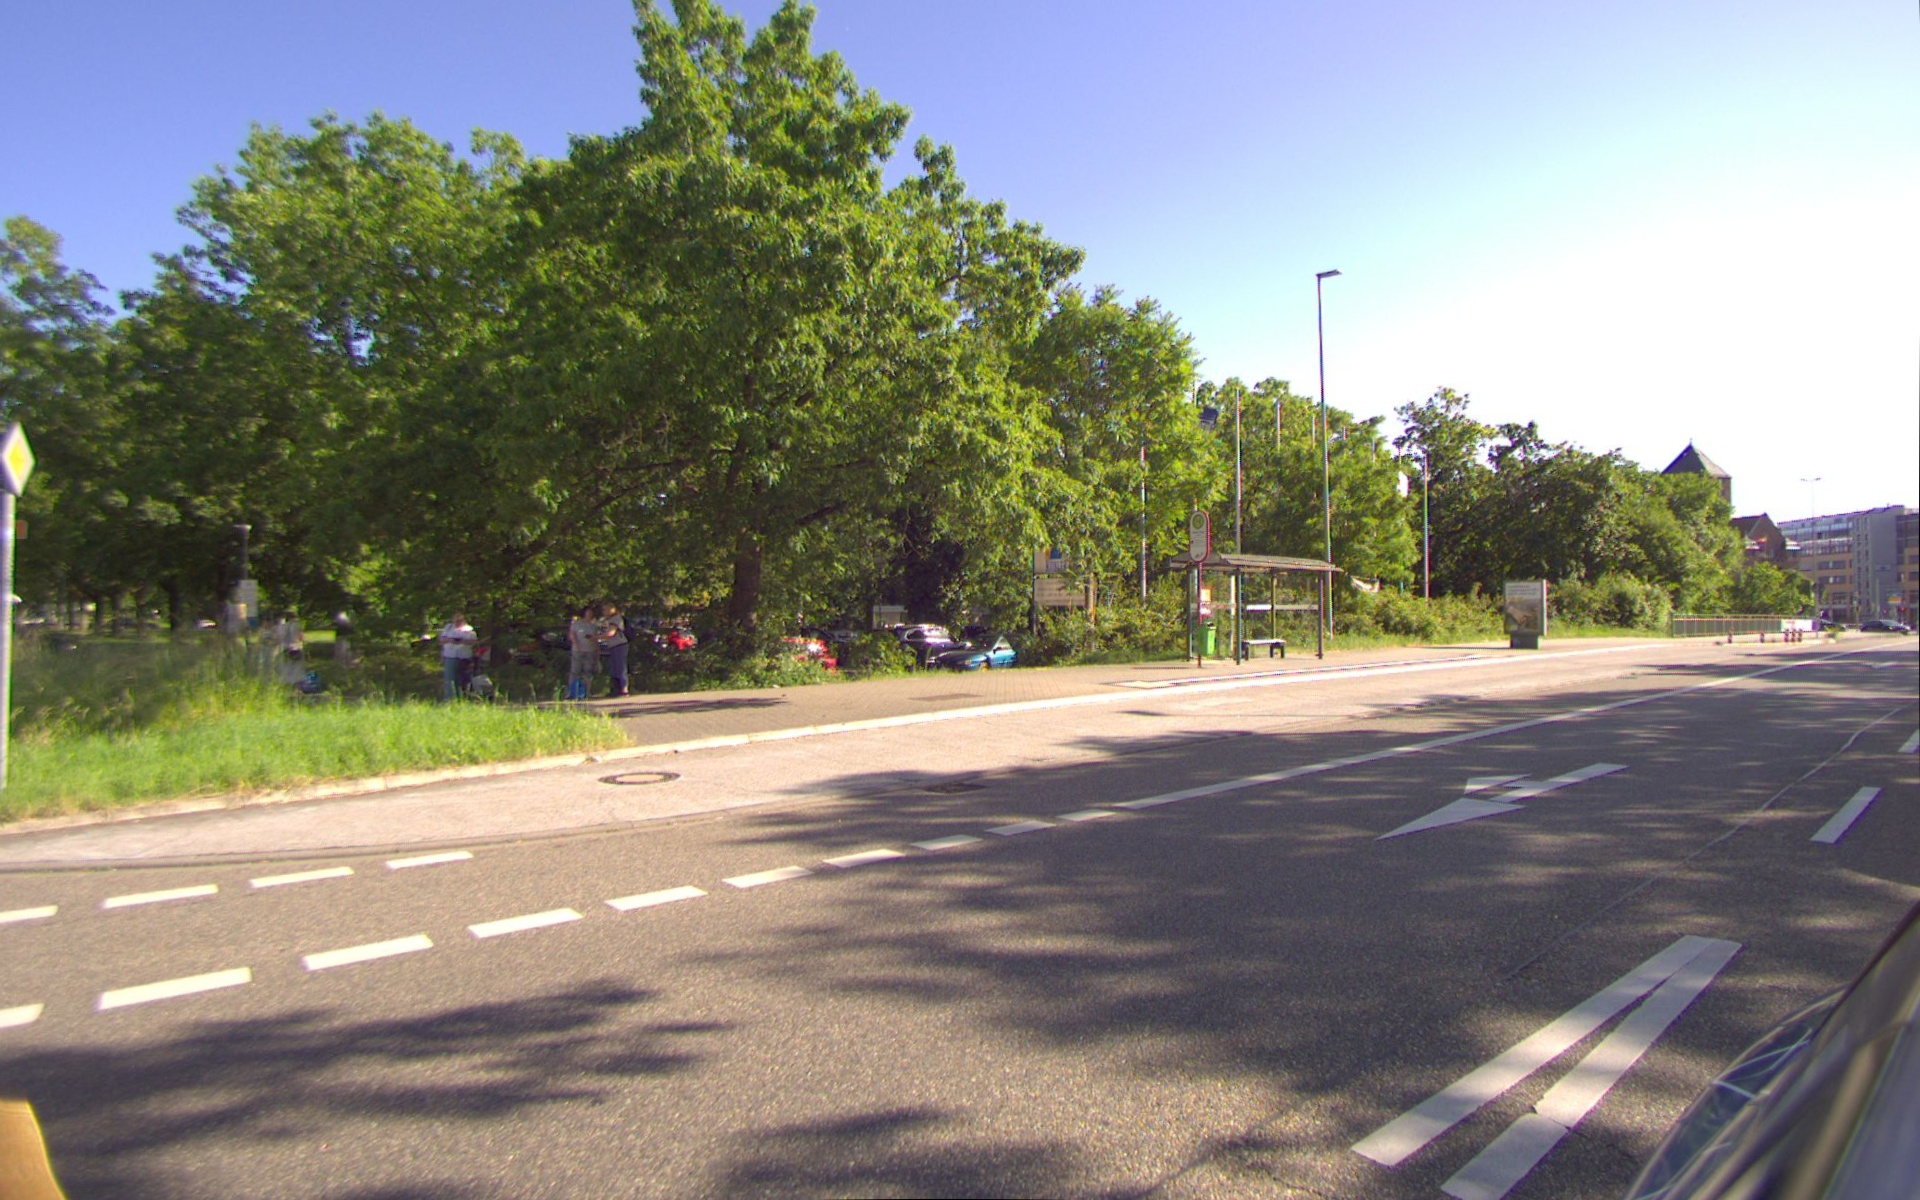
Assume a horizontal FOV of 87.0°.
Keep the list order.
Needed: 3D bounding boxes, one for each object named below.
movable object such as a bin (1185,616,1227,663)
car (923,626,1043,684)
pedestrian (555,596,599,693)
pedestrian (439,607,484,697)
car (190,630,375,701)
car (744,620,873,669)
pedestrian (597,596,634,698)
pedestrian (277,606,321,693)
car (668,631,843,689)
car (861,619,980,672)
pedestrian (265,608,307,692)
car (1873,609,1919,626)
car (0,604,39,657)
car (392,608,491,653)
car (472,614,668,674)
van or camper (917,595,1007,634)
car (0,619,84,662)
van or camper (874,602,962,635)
[{"bbox_3d":[5.585,0.894,23.003,0.568,1.043,0.727,1,-2,-42],"label":"movable object such as a bin"},{"bbox_3d":[0.766,1.681,32.021,3.550,1.659,1.765,0,-1,-41],"label":"car"},{"bbox_3d":[-6.678,0.767,17.647,0.542,1.655,0.623,1,-2,-42],"label":"pedestrian"},{"bbox_3d":[-8.816,0.904,17.893,0.602,1.538,0.528,1,-2,-40],"label":"pedestrian"},{"bbox_3d":[-17.957,1.677,26.865,3.928,1.628,1.997,-1,-2,-39],"label":"car"},{"bbox_3d":[-5.805,1.754,39.134,4.691,1.773,1.755,3,-5,-40],"label":"car"},{"bbox_3d":[-5.962,0.805,17.516,0.403,1.722,0.603,1,-2,-42],"label":"pedestrian"},{"bbox_3d":[-12.746,0.950,19.511,0.702,1.640,0.558,-3,-2,42],"label":"pedestrian"},{"bbox_3d":[-4.671,1.334,23.459,3.846,1.169,1.397,0,-1,-44],"label":"car"},{"bbox_3d":[-1.316,1.513,34.563,3.930,1.685,1.607,0,-2,-41],"label":"car"},{"bbox_3d":[-13.398,0.983,20.121,0.596,1.640,0.558,-3,-2,42],"label":"pedestrian"},{"bbox_3d":[85.084,1.563,91.644,1.802,1.492,3.985,-1,-1,12],"label":"car"},{"bbox_3d":[-40.165,1.243,40.872,4.274,2.100,1.997,0,-1,-40],"label":"car"},{"bbox_3d":[-16.384,0.933,31.903,3.637,1.290,1.599,-1,1,43],"label":"car"},{"bbox_3d":[-11.022,1.288,28.807,4.801,1.558,1.997,3,-4,-40],"label":"car"},{"bbox_3d":[0.182,0.842,59.656,2.449,2.186,5.246,-1,-1,42],"label":"van or camper"},{"bbox_3d":[-30.686,1.327,32.292,3.924,1.315,1.999,-1,-1,-35],"label":"car"},{"bbox_3d":[-2.556,1.093,62.216,2.450,1.937,5.244,-1,-1,43],"label":"van or camper"}]
